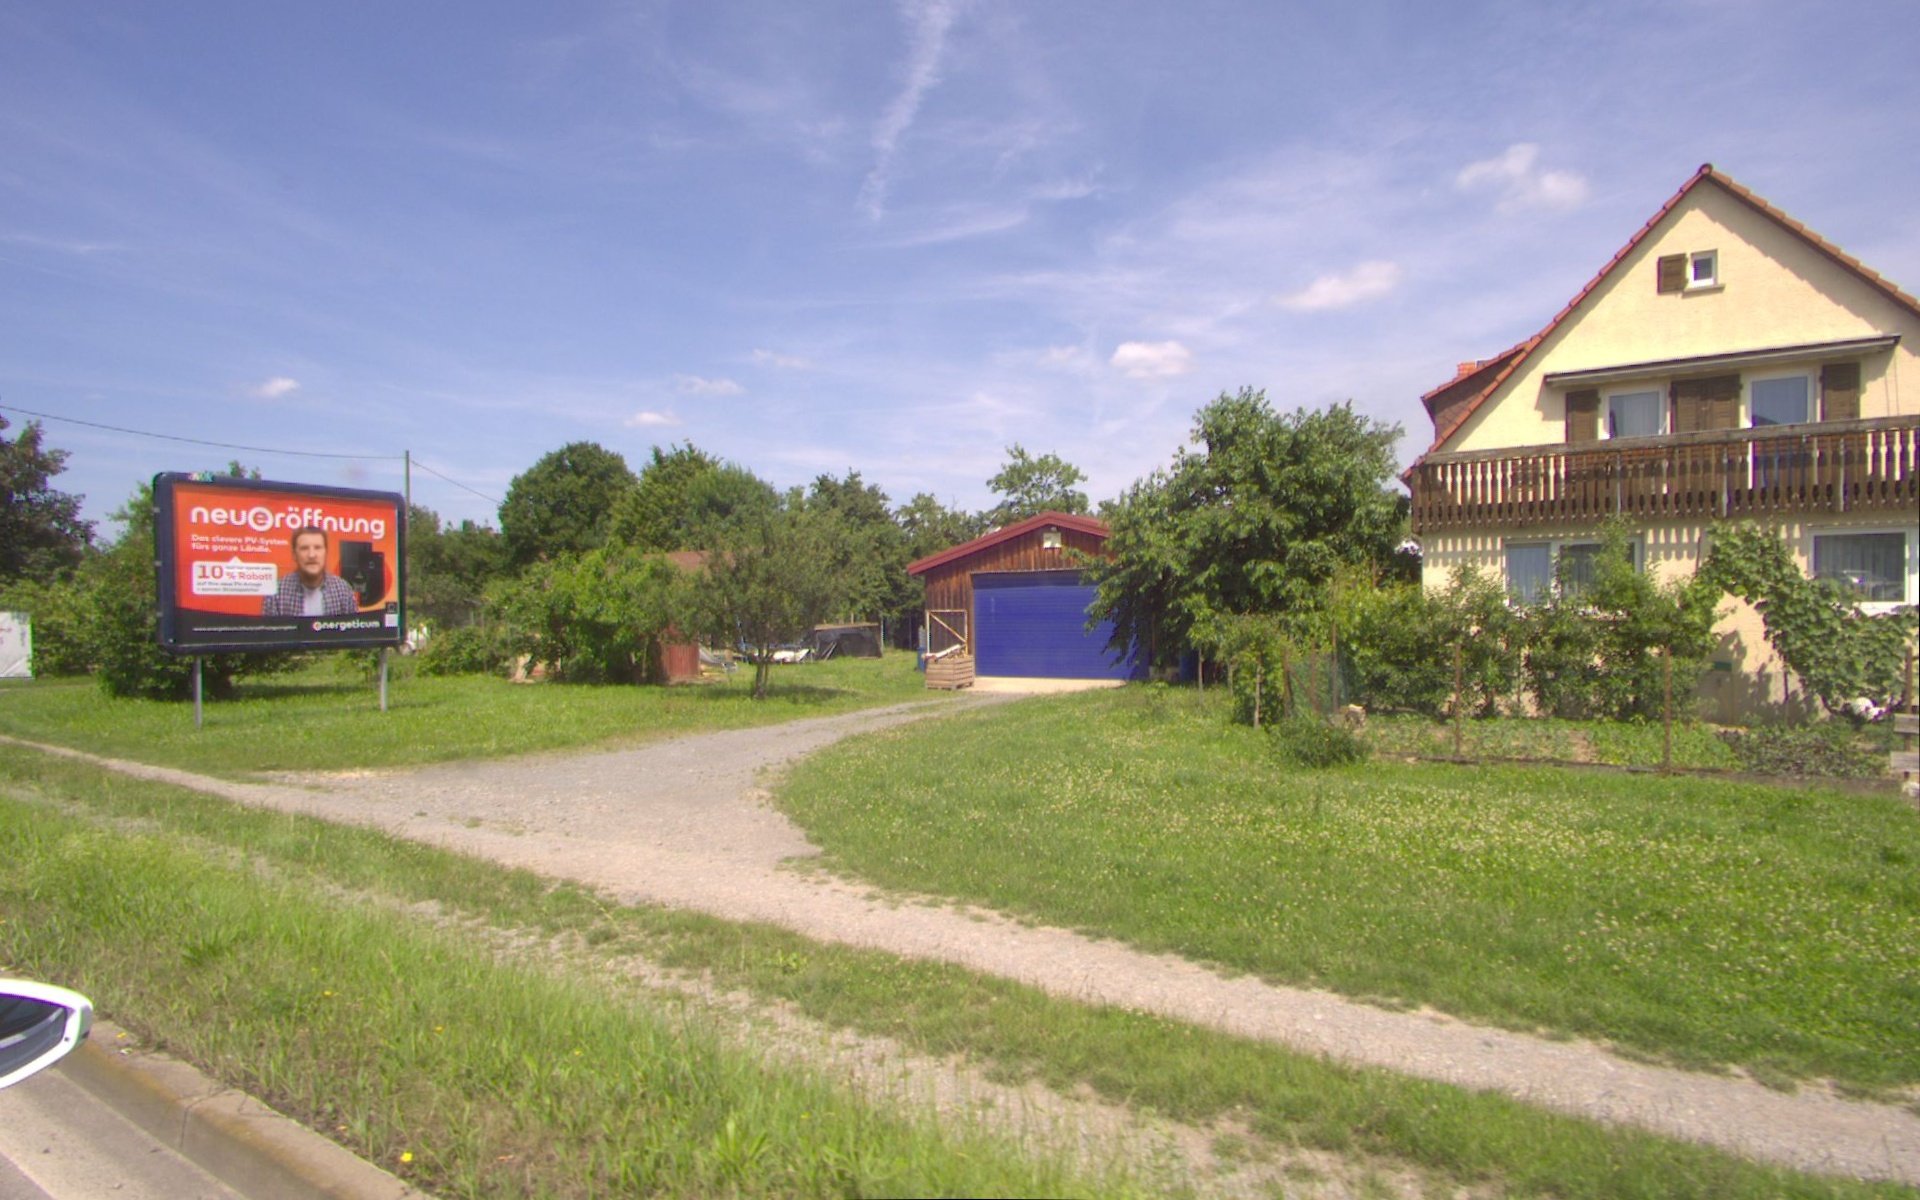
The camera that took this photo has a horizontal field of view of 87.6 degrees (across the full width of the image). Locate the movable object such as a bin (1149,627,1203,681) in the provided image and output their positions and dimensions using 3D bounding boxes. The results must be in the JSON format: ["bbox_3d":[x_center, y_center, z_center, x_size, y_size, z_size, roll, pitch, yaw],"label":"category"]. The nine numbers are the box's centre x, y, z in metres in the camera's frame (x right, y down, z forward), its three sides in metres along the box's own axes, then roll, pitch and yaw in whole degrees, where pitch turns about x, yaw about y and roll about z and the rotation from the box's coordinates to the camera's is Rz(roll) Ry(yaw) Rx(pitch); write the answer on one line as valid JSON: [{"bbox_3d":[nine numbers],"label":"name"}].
[{"bbox_3d":[5.877,1.449,27.199,1.049,1.415,1.271,0,-1,34],"label":"movable object such as a bin"}]

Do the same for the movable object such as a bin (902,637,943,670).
[{"bbox_3d":[-1.244,1.784,33.258,1.045,1.045,1.041,0,-3,18],"label":"movable object such as a bin"}]

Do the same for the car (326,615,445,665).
[{"bbox_3d":[-24.524,1.692,42.848,1.976,2.039,3.971,0,-2,39],"label":"car"}]
